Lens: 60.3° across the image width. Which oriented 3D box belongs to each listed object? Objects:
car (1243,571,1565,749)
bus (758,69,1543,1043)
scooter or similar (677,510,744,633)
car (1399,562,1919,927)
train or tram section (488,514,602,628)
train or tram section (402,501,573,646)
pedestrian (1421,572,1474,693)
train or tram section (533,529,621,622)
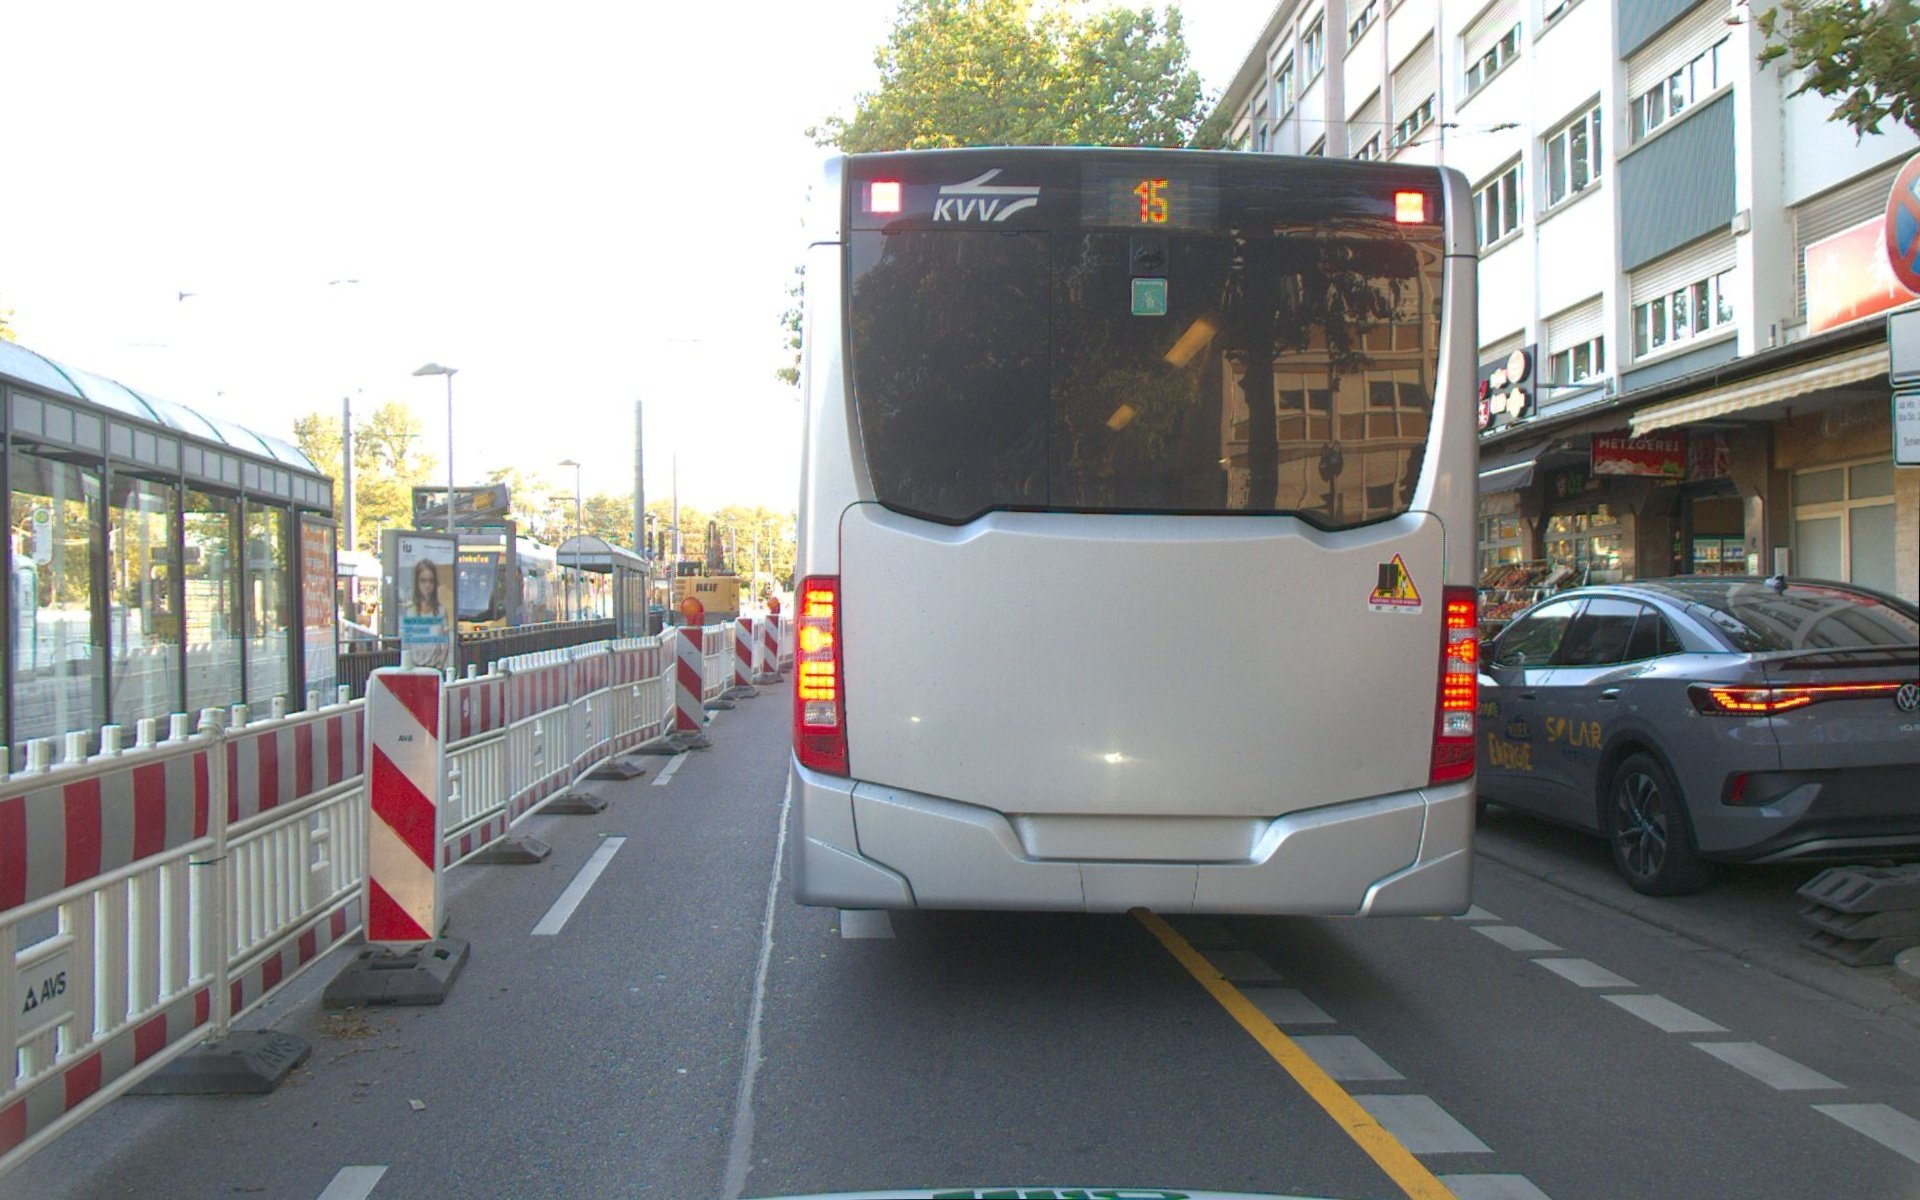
[{"bbox_3d":[4.636,0.559,18.022,1.955,1.609,4.363,-3,1,-5],"label":"car"},{"bbox_3d":[0.590,-0.131,9.490,2.558,3.181,7.991,1,0,-1],"label":"bus"},{"bbox_3d":[-9.648,-1.055,64.226,2.422,4.549,5.962,0,0,-8],"label":"scooter or similar"},{"bbox_3d":[4.368,0.635,9.843,1.955,1.609,4.363,-3,1,-5],"label":"car"},{"bbox_3d":[-14.640,-0.917,59.178,2.636,3.621,11.560,1,0,-8],"label":"train or tram section"},{"bbox_3d":[-13.278,-0.644,47.568,2.635,3.595,11.756,1,0,-6],"label":"train or tram section"},{"bbox_3d":[6.966,0.462,23.665,0.649,1.696,0.601,-2,-1,15],"label":"pedestrian"},{"bbox_3d":[-16.204,-0.933,70.632,2.636,3.594,11.560,1,0,-8],"label":"train or tram section"}]
